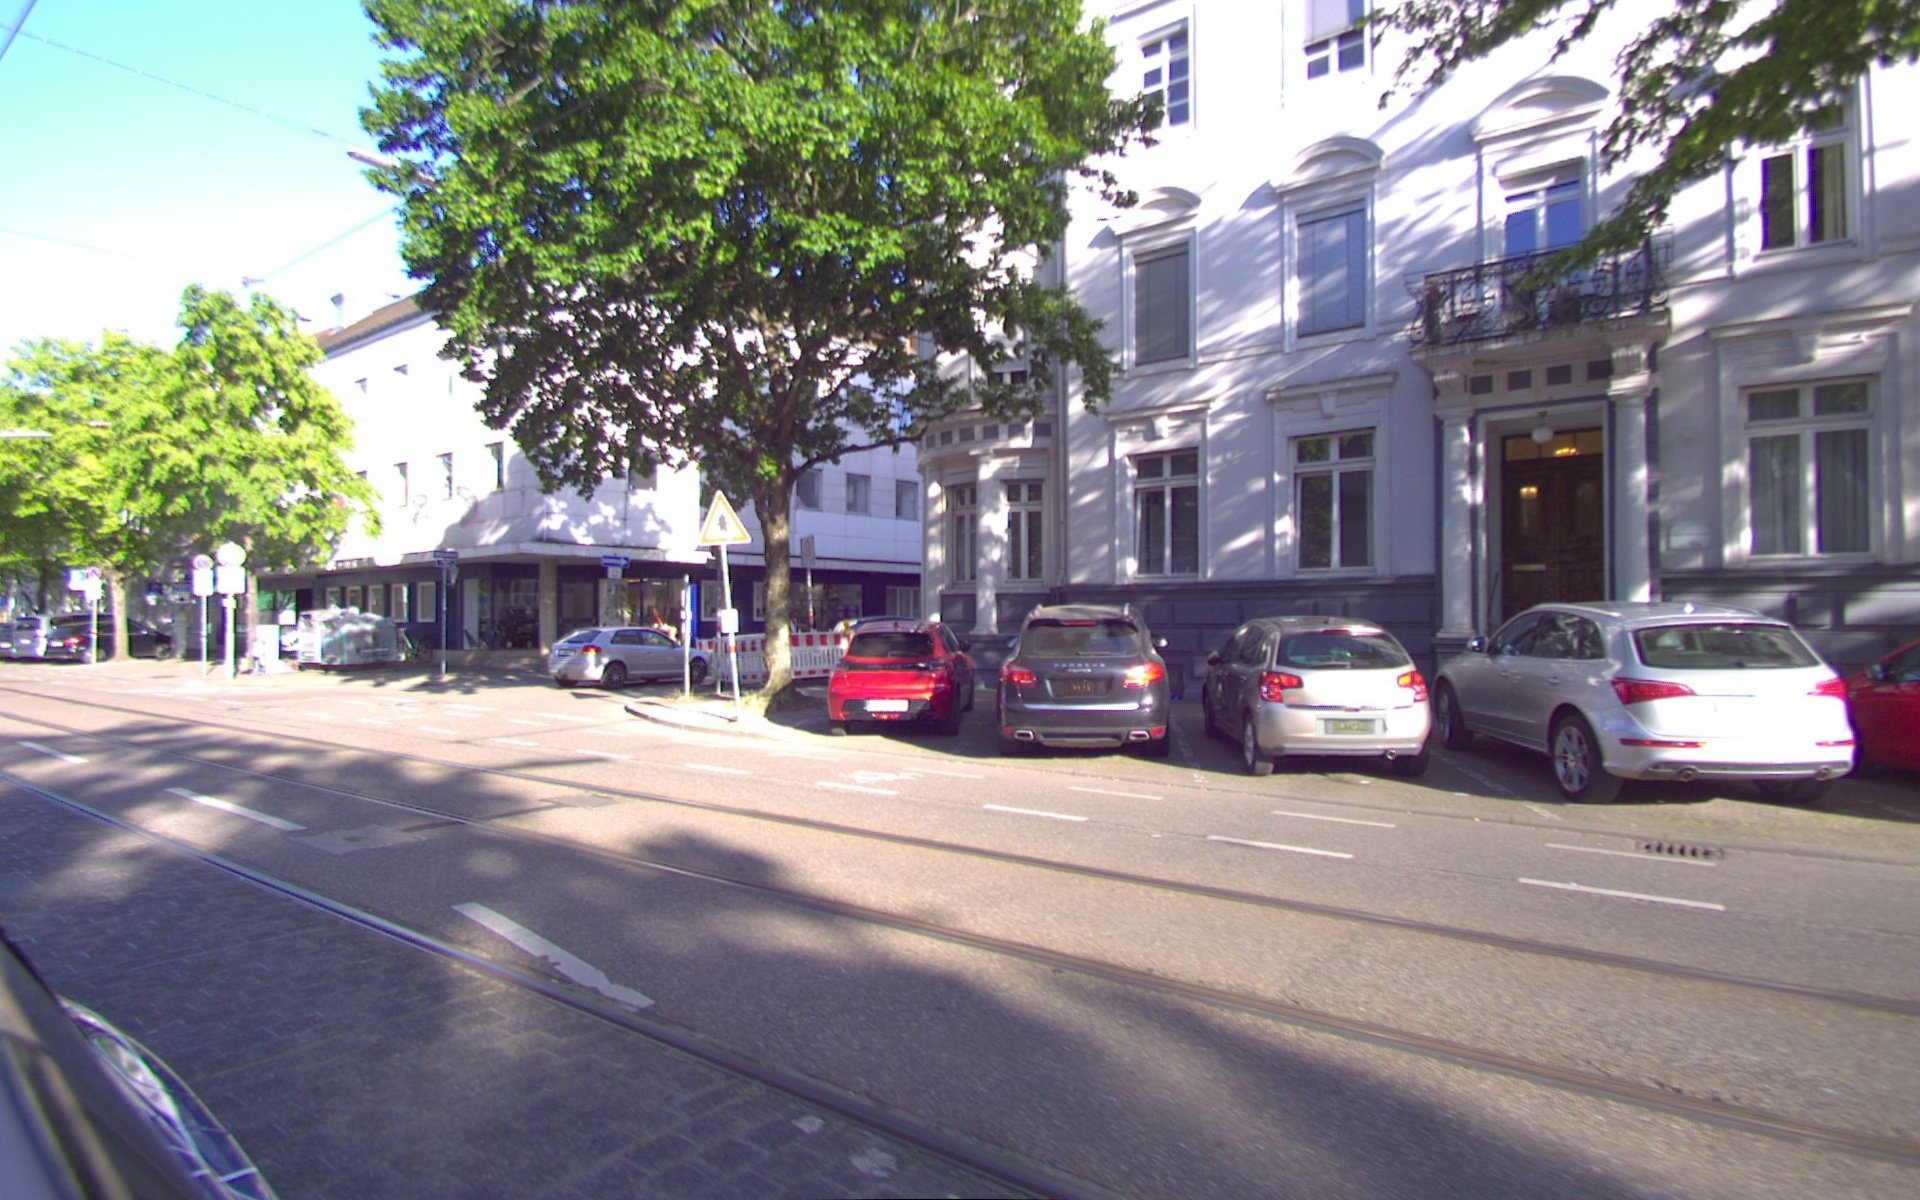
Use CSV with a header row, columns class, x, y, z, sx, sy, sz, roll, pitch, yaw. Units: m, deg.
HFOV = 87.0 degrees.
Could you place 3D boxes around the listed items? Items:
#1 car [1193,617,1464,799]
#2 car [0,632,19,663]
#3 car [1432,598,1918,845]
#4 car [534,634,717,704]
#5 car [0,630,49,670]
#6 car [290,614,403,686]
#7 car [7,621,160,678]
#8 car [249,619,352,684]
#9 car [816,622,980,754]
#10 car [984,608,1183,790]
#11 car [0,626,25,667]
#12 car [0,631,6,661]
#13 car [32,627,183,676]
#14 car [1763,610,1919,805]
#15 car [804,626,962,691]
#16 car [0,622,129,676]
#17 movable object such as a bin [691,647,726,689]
class,x,y,z,sx,sy,sz,roll,pitch,yaw
car,3.749,1.010,11.003,1.726,1.531,3.762,-1,1,3
car,-52.429,2.585,53.417,1.667,1.605,3.733,-1,1,31
car,6.136,0.875,9.417,1.762,1.737,4.195,-1,1,5
car,-7.803,1.550,23.938,1.774,1.497,3.960,-1,-2,29
car,-45.767,2.385,47.589,1.667,1.791,4.059,-1,1,31
car,-17.467,1.395,28.787,3.209,1.912,1.652,-2,-3,37
car,-34.576,1.891,40.045,1.667,1.965,4.263,-1,1,31
car,-20.354,1.566,31.197,3.209,1.912,1.652,-2,-3,37
car,-0.733,1.124,14.424,1.759,1.497,3.994,0,0,5
car,1.698,1.008,12.406,1.930,1.727,4.341,-1,1,14
car,-47.912,2.312,48.835,1.667,1.953,3.766,-1,0,31
car,-54.431,2.594,54.767,1.667,1.605,3.733,-1,1,31
car,-32.143,1.898,38.277,1.667,1.581,4.059,-1,1,31
car,8.686,0.896,8.079,1.621,1.570,4.190,-1,0,8
car,-1.825,1.400,25.211,1.779,1.497,3.950,-1,-2,37
car,-36.904,1.953,41.350,1.667,1.965,4.263,-1,1,31
movable object such as a bin,-7.167,1.936,28.844,0.432,1.139,0.851,-1,0,45
